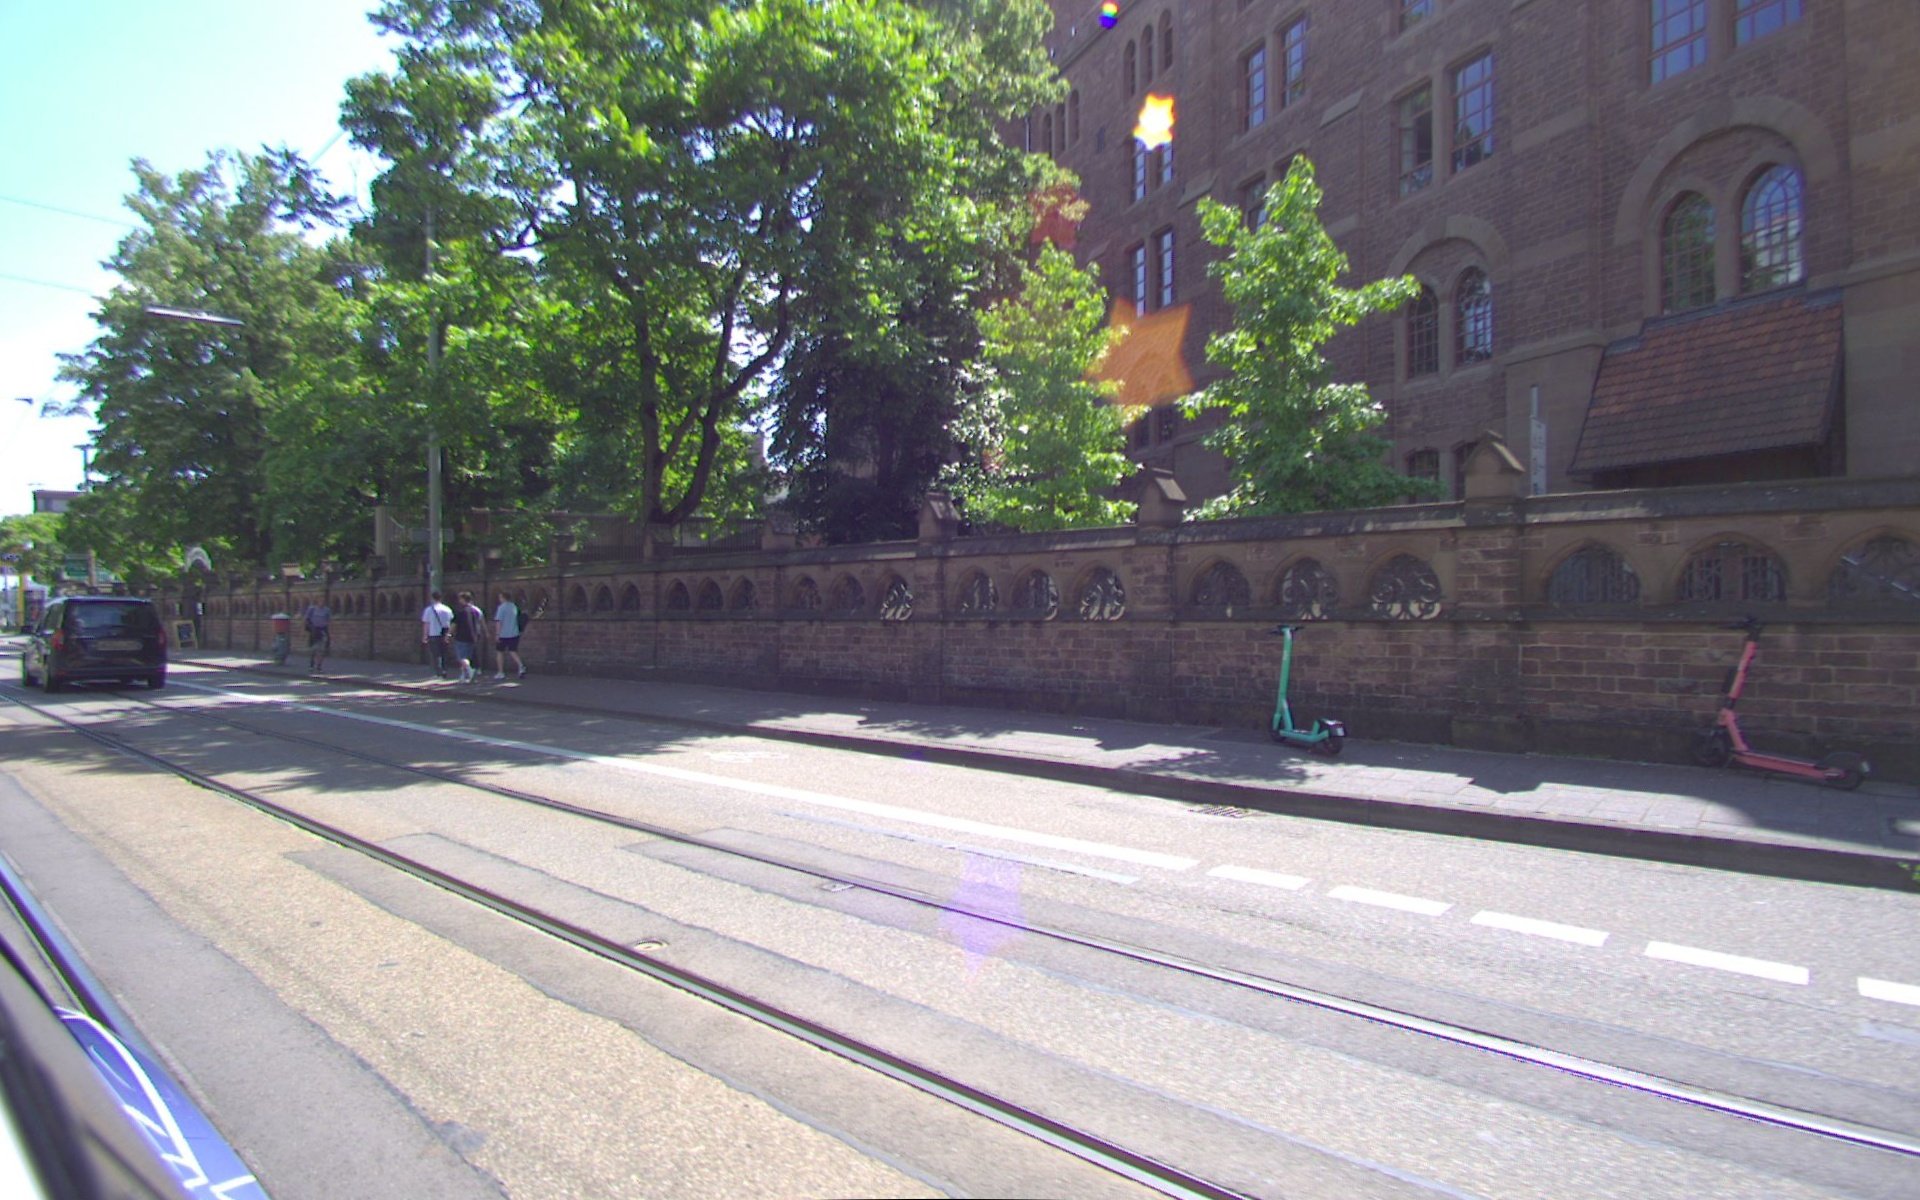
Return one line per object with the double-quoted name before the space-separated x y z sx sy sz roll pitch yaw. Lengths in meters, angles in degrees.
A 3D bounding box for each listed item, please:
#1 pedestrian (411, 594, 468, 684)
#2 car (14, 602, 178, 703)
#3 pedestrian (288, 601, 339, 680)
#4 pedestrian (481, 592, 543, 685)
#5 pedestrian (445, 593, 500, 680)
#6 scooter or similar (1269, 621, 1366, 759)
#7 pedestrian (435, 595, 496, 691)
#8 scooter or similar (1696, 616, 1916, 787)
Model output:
"pedestrian" -10.846 0.796 21.089 0.919 1.803 0.670 -2 2 41
"car" -17.341 0.980 20.250 4.253 1.802 1.885 -1 -1 41
"pedestrian" -15.387 0.956 24.096 0.919 1.805 0.714 -2 2 41
"pedestrian" -9.014 0.754 20.356 0.919 1.789 0.745 -2 2 41
"pedestrian" -10.465 0.773 21.728 0.919 1.789 0.670 -2 2 41
"scooter or similar" 3.290 0.791 9.394 0.343 1.135 1.227 -2 1 -6
"pedestrian" -9.514 0.809 19.465 0.919 1.761 0.670 -2 2 41
"scooter or similar" 6.229 0.700 7.518 0.324 1.135 1.227 -2 0 -21
